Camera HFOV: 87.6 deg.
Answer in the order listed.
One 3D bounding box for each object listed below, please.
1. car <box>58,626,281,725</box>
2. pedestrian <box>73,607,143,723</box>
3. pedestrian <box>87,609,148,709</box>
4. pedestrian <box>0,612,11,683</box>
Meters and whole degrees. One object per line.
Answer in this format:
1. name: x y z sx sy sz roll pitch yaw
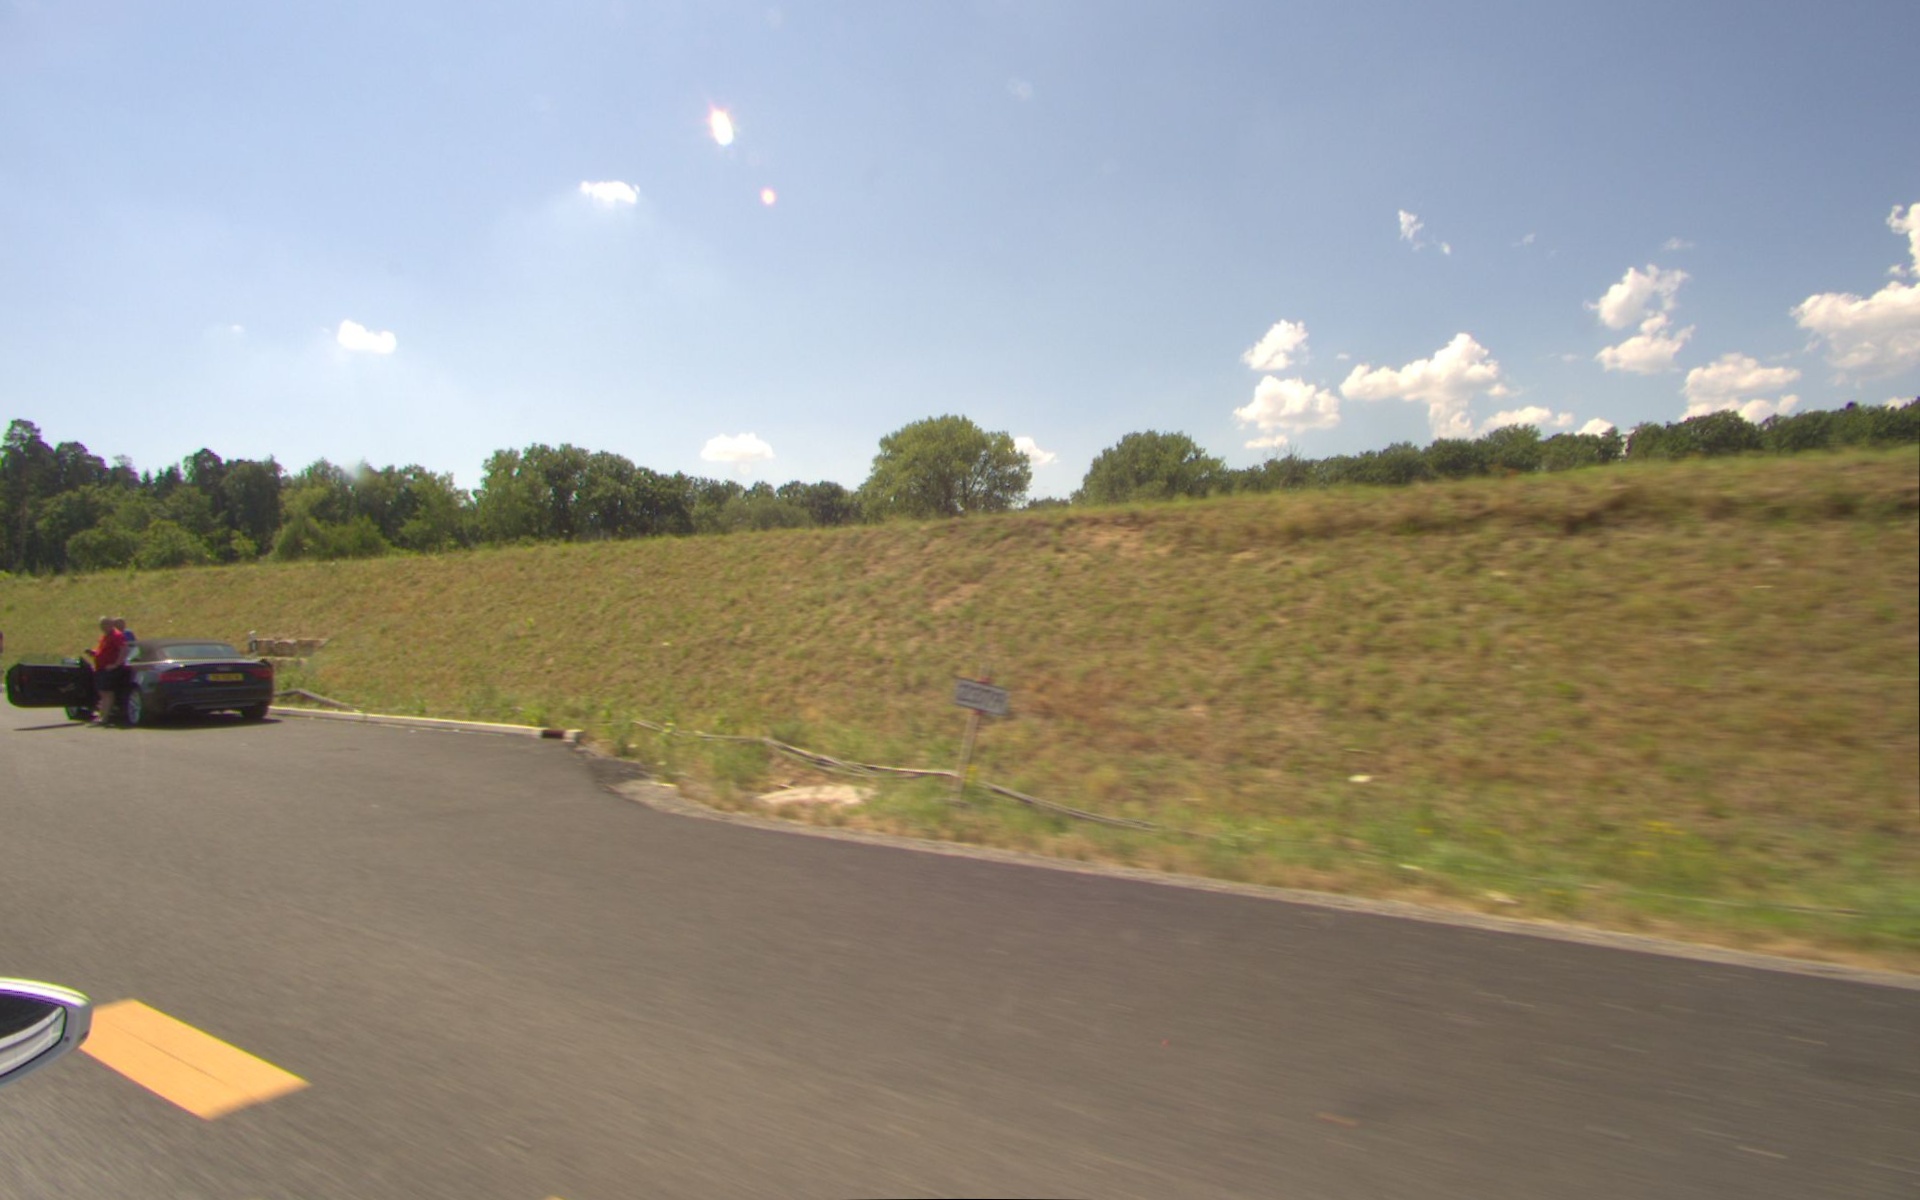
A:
1. car: -13.714 1.211 17.298 4.480 1.446 1.650 -1 1 33
2. pedestrian: -13.885 1.052 16.334 0.548 1.851 0.642 0 -1 11
3. pedestrian: -16.084 1.115 19.128 0.631 1.851 0.625 0 -1 20
4. pedestrian: -24.957 1.229 25.804 0.657 1.818 0.563 -1 -2 31
